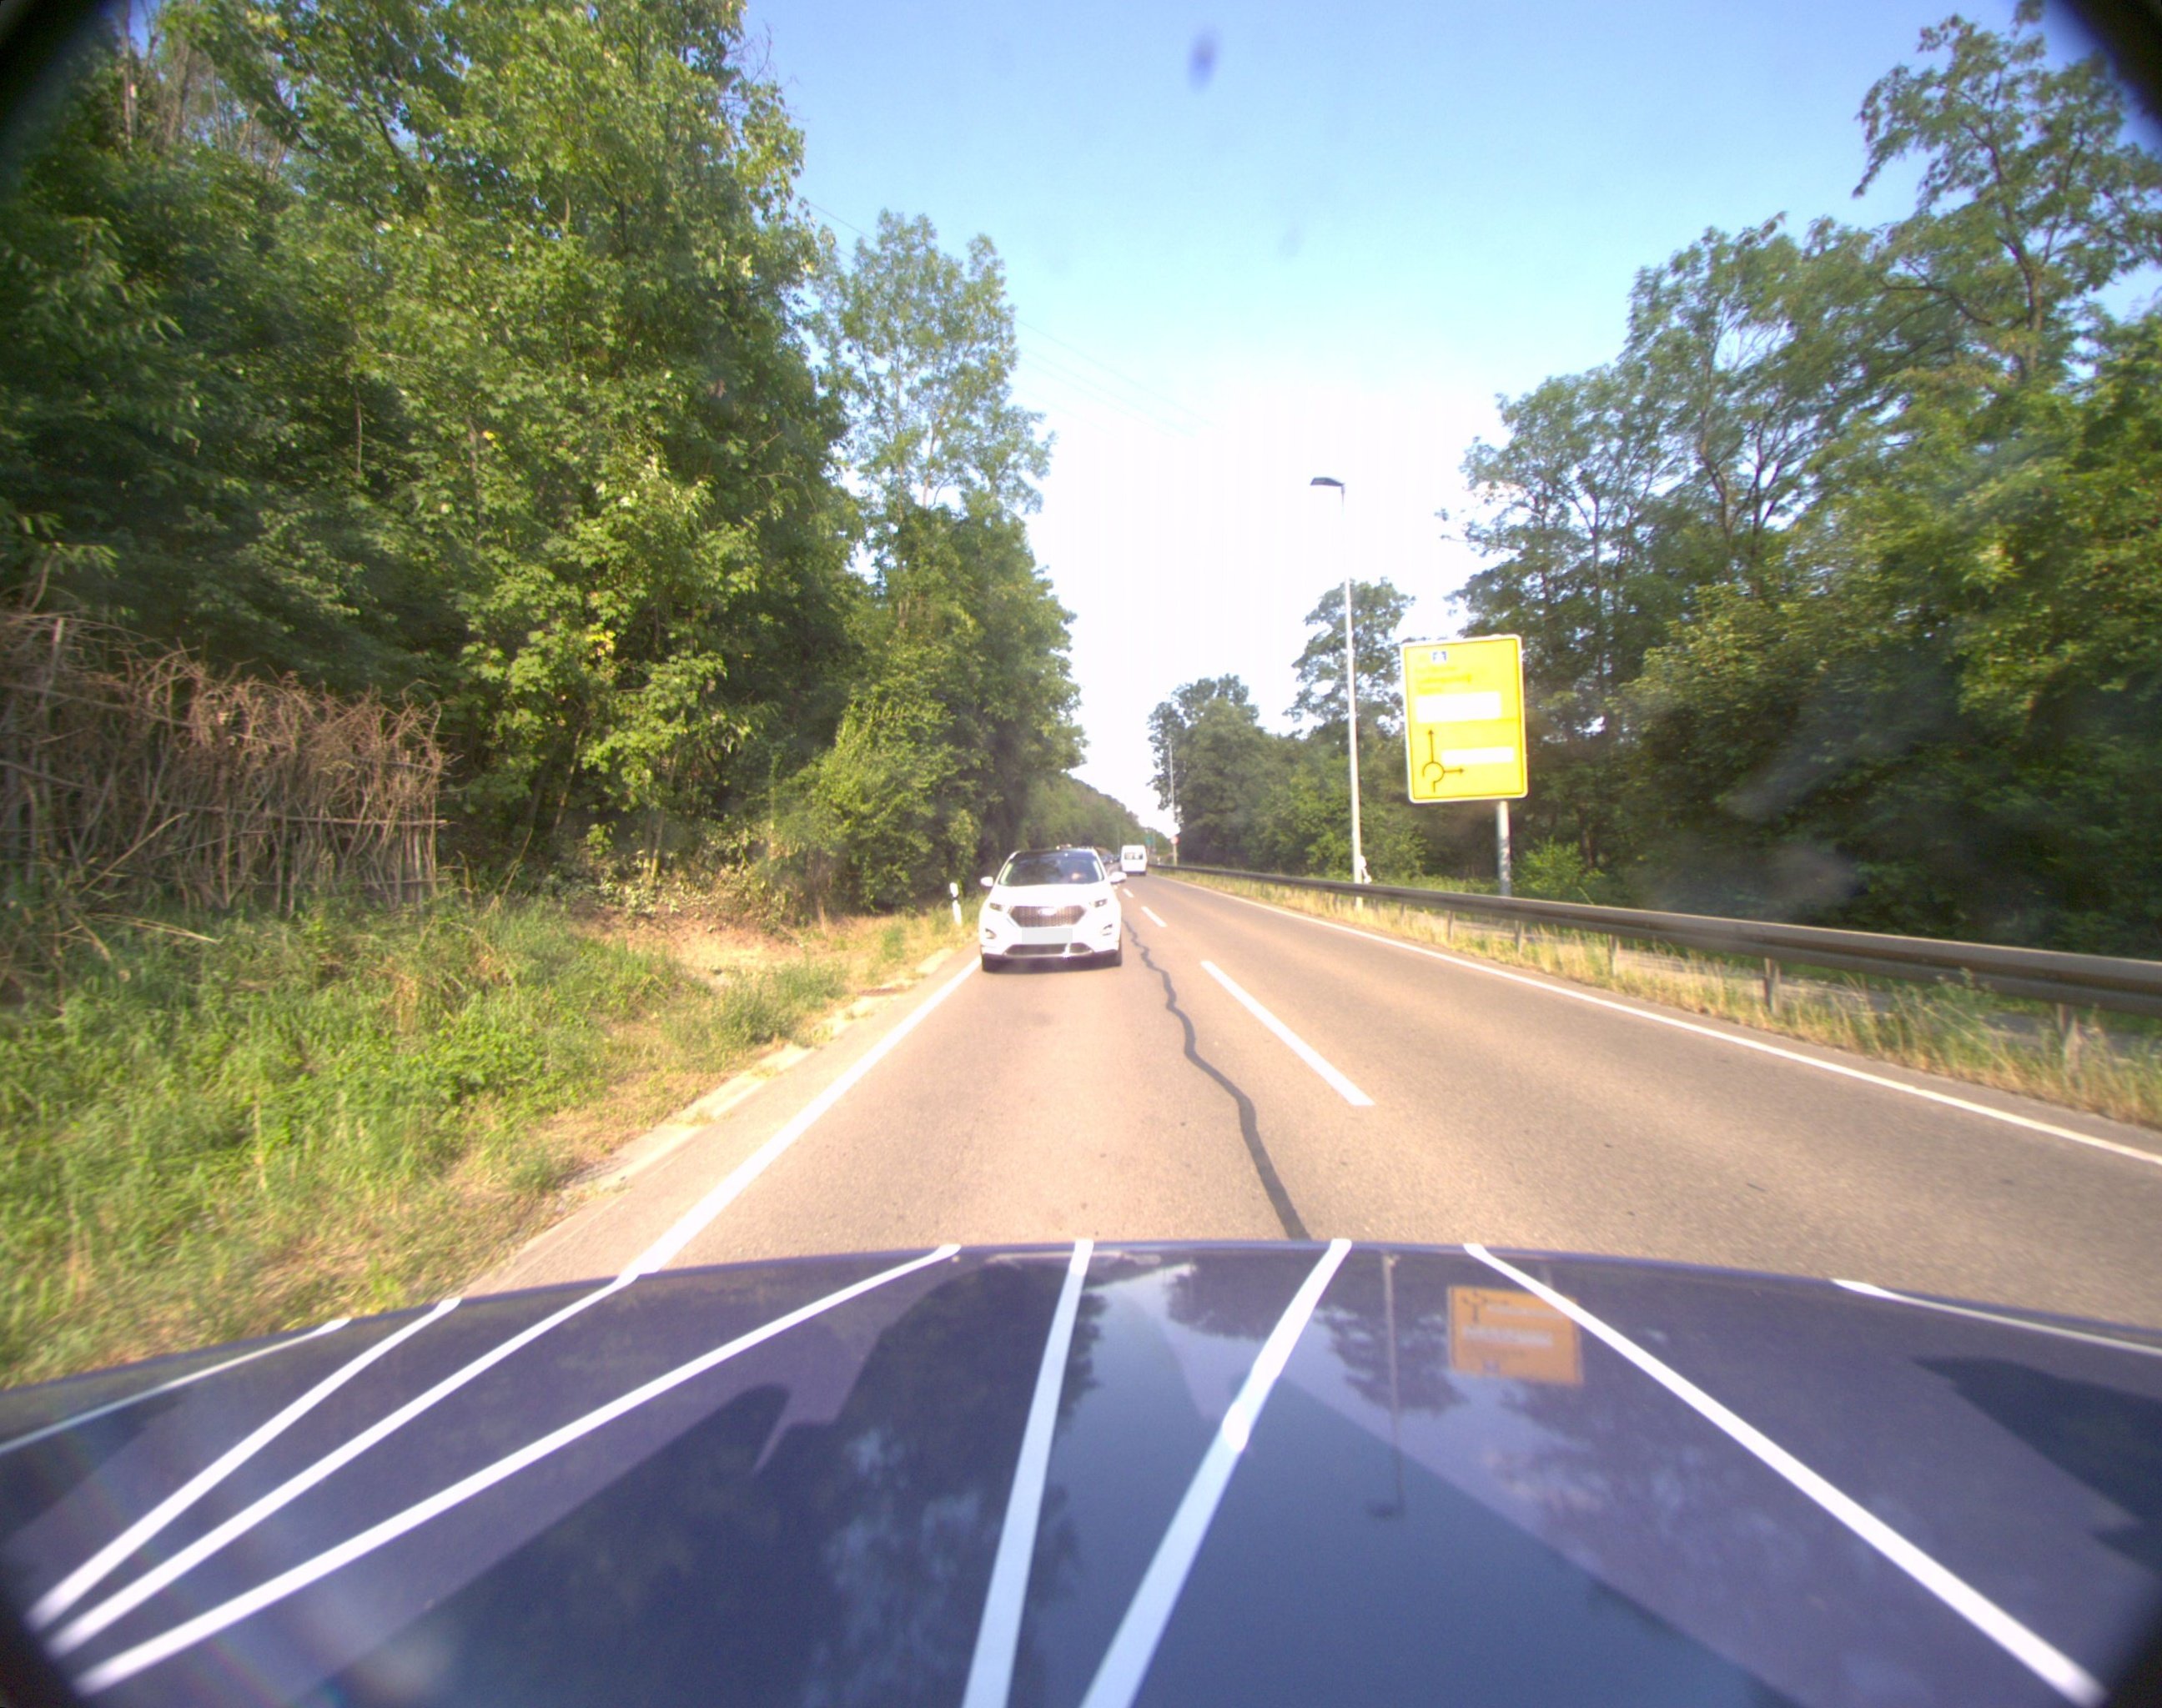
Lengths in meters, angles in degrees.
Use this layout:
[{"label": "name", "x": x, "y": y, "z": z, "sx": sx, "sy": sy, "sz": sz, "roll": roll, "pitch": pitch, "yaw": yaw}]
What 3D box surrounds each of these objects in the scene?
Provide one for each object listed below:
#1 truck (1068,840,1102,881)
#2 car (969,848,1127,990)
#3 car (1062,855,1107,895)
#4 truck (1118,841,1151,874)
[{"label": "truck", "x": 0.280, "y": 0.391, "z": 47.503, "sx": 1.894, "sy": 2.334, "sz": 5.273, "roll": -2, "pitch": 0, "yaw": 1}, {"label": "car", "x": -0.378, "y": 0.808, "z": 11.525, "sx": 1.894, "sy": 1.691, "sz": 4.136, "roll": -2, "pitch": 0, "yaw": 1}, {"label": "car", "x": 0.156, "y": 0.834, "z": 31.988, "sx": 1.704, "sy": 1.477, "sz": 4.136, "roll": -2, "pitch": 0, "yaw": 1}, {"label": "truck", "x": 4.078, "y": 0.215, "z": 58.837, "sx": 2.063, "sy": 2.371, "sz": 5.872, "roll": -2, "pitch": 0, "yaw": 0}]
